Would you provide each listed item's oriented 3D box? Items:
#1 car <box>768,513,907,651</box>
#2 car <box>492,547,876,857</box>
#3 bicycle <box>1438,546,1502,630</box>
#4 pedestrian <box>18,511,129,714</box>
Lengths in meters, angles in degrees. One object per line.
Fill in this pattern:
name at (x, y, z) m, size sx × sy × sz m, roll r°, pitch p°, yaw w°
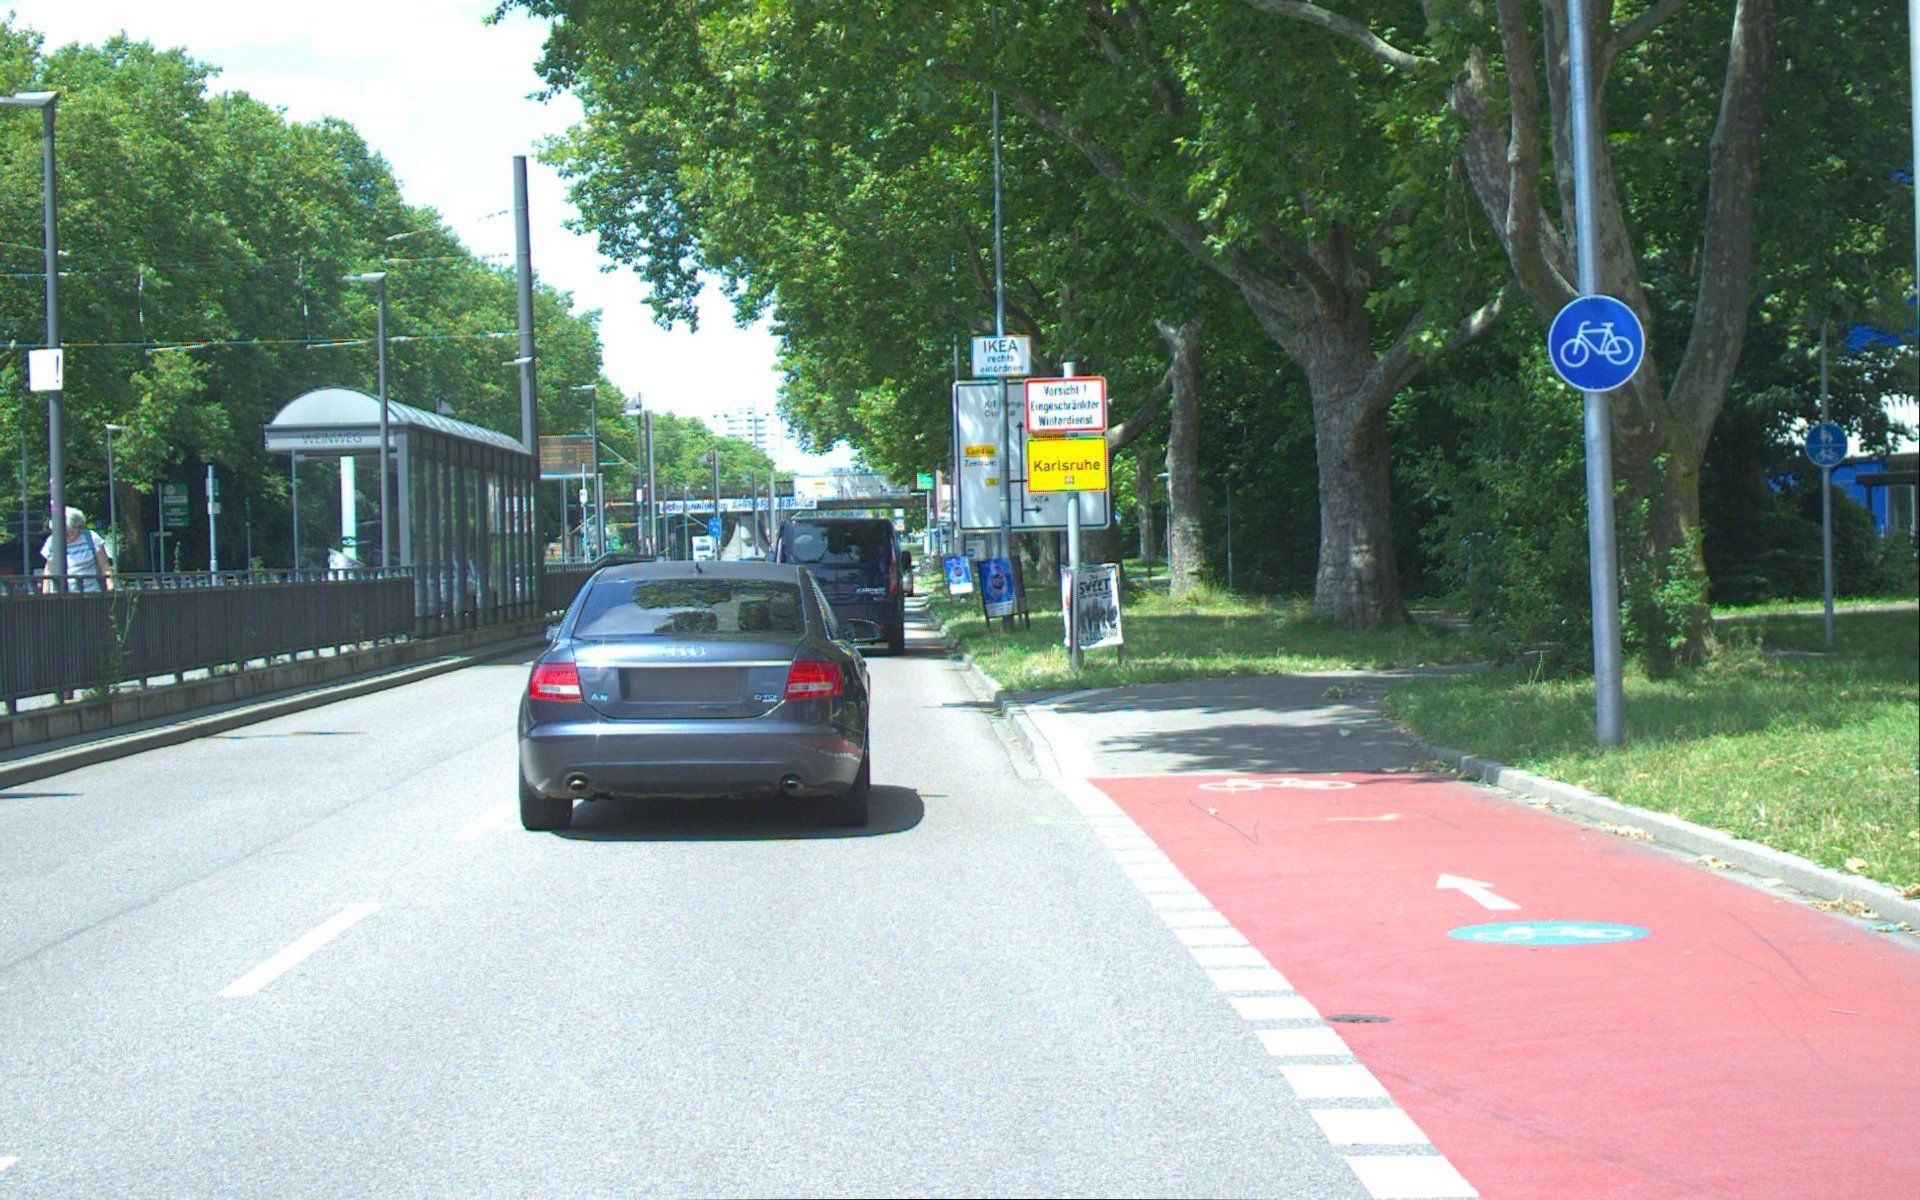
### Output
car at (-1.773, -0.274, 50.818) m, size 1.848 × 1.953 × 4.144 m, roll 0°, pitch 1°, yaw 1°
car at (-1.407, 0.472, 18.914) m, size 1.842 × 1.479 × 4.000 m, roll -1°, pitch 1°, yaw -1°
bicycle at (8.915, -0.222, 60.178) m, size 0.610 × 1.415 × 2.662 m, roll -2°, pitch 1°, yaw -2°
pedestrian at (-7.370, 0.095, 28.610) m, size 0.732 × 1.660 × 0.742 m, roll 0°, pitch 1°, yaw -2°
